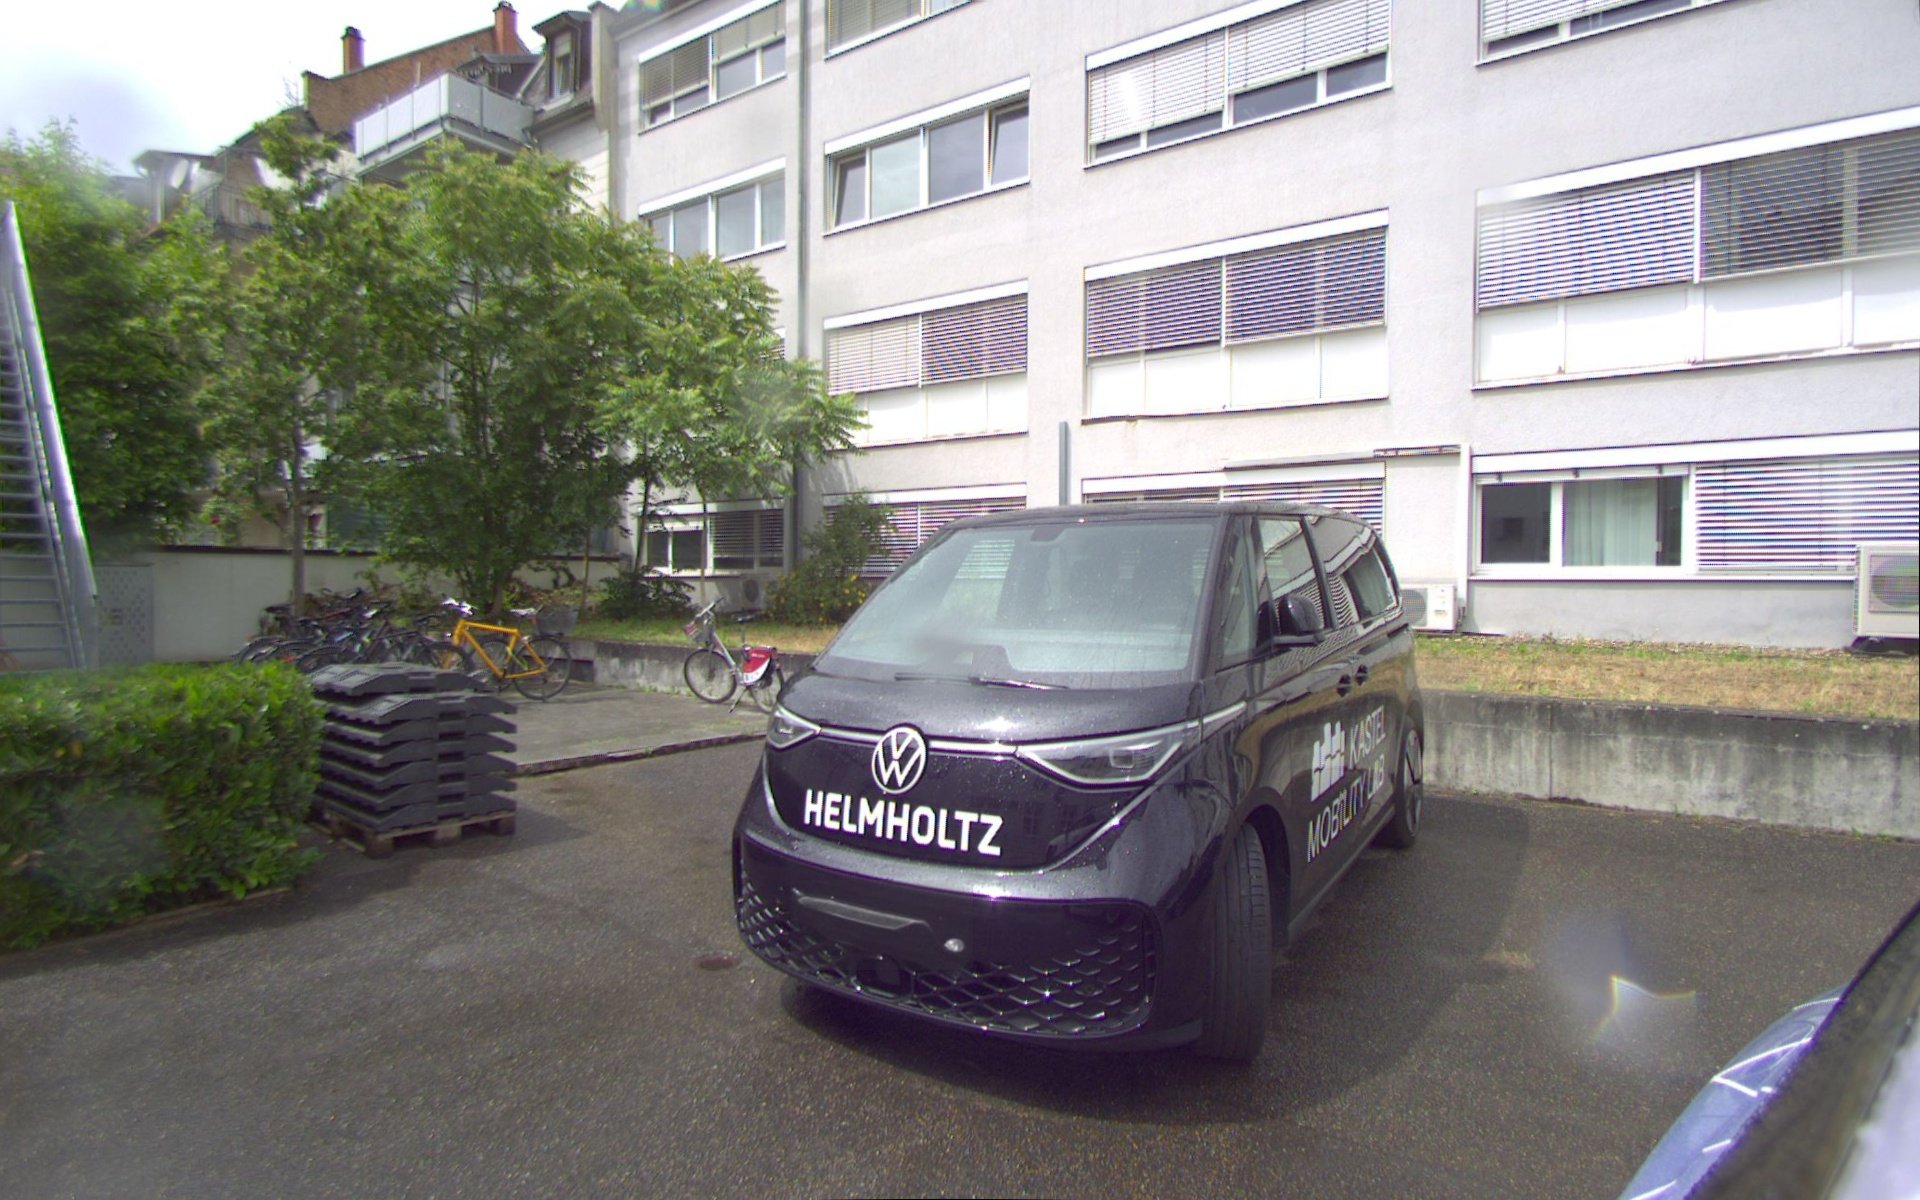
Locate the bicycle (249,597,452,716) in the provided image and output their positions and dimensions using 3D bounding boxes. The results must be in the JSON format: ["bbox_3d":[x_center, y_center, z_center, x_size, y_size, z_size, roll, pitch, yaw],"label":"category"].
[{"bbox_3d":[-6.265,0.543,10.489,0.353,1.117,1.769,2,1,42],"label":"bicycle"}]

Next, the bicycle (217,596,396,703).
[{"bbox_3d":[-7.467,0.528,11.638,0.343,1.117,1.734,1,1,34],"label":"bicycle"}]

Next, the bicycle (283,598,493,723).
[{"bbox_3d":[-5.611,0.549,10.018,0.404,1.117,1.769,2,1,42],"label":"bicycle"}]

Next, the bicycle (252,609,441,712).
[{"bbox_3d":[-6.551,0.606,10.905,0.328,0.979,1.774,1,1,34],"label":"bicycle"}]

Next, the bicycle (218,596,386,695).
[{"bbox_3d":[-8.013,0.517,12.409,0.340,1.117,1.734,1,1,34],"label":"bicycle"}]

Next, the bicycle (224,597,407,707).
[{"bbox_3d":[-7.134,0.534,11.286,0.340,1.117,1.734,1,1,34],"label":"bicycle"}]

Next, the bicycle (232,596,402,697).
[{"bbox_3d":[-7.705,0.520,12.198,0.353,1.117,1.734,1,1,34],"label":"bicycle"}]

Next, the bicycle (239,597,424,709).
[{"bbox_3d":[-6.835,0.535,11.092,0.330,1.117,1.734,1,1,34],"label":"bicycle"}]

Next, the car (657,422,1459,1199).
[{"bbox_3d":[1.045,0.433,4.946,1.957,1.888,4.692,0,2,33],"label":"car"}]

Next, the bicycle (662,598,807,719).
[{"bbox_3d":[-2.380,0.569,10.574,1.787,1.117,0.441,2,4,39],"label":"bicycle"}]

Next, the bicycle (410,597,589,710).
[{"bbox_3d":[-4.943,0.540,10.960,0.366,1.117,1.769,2,1,42],"label":"bicycle"}]
